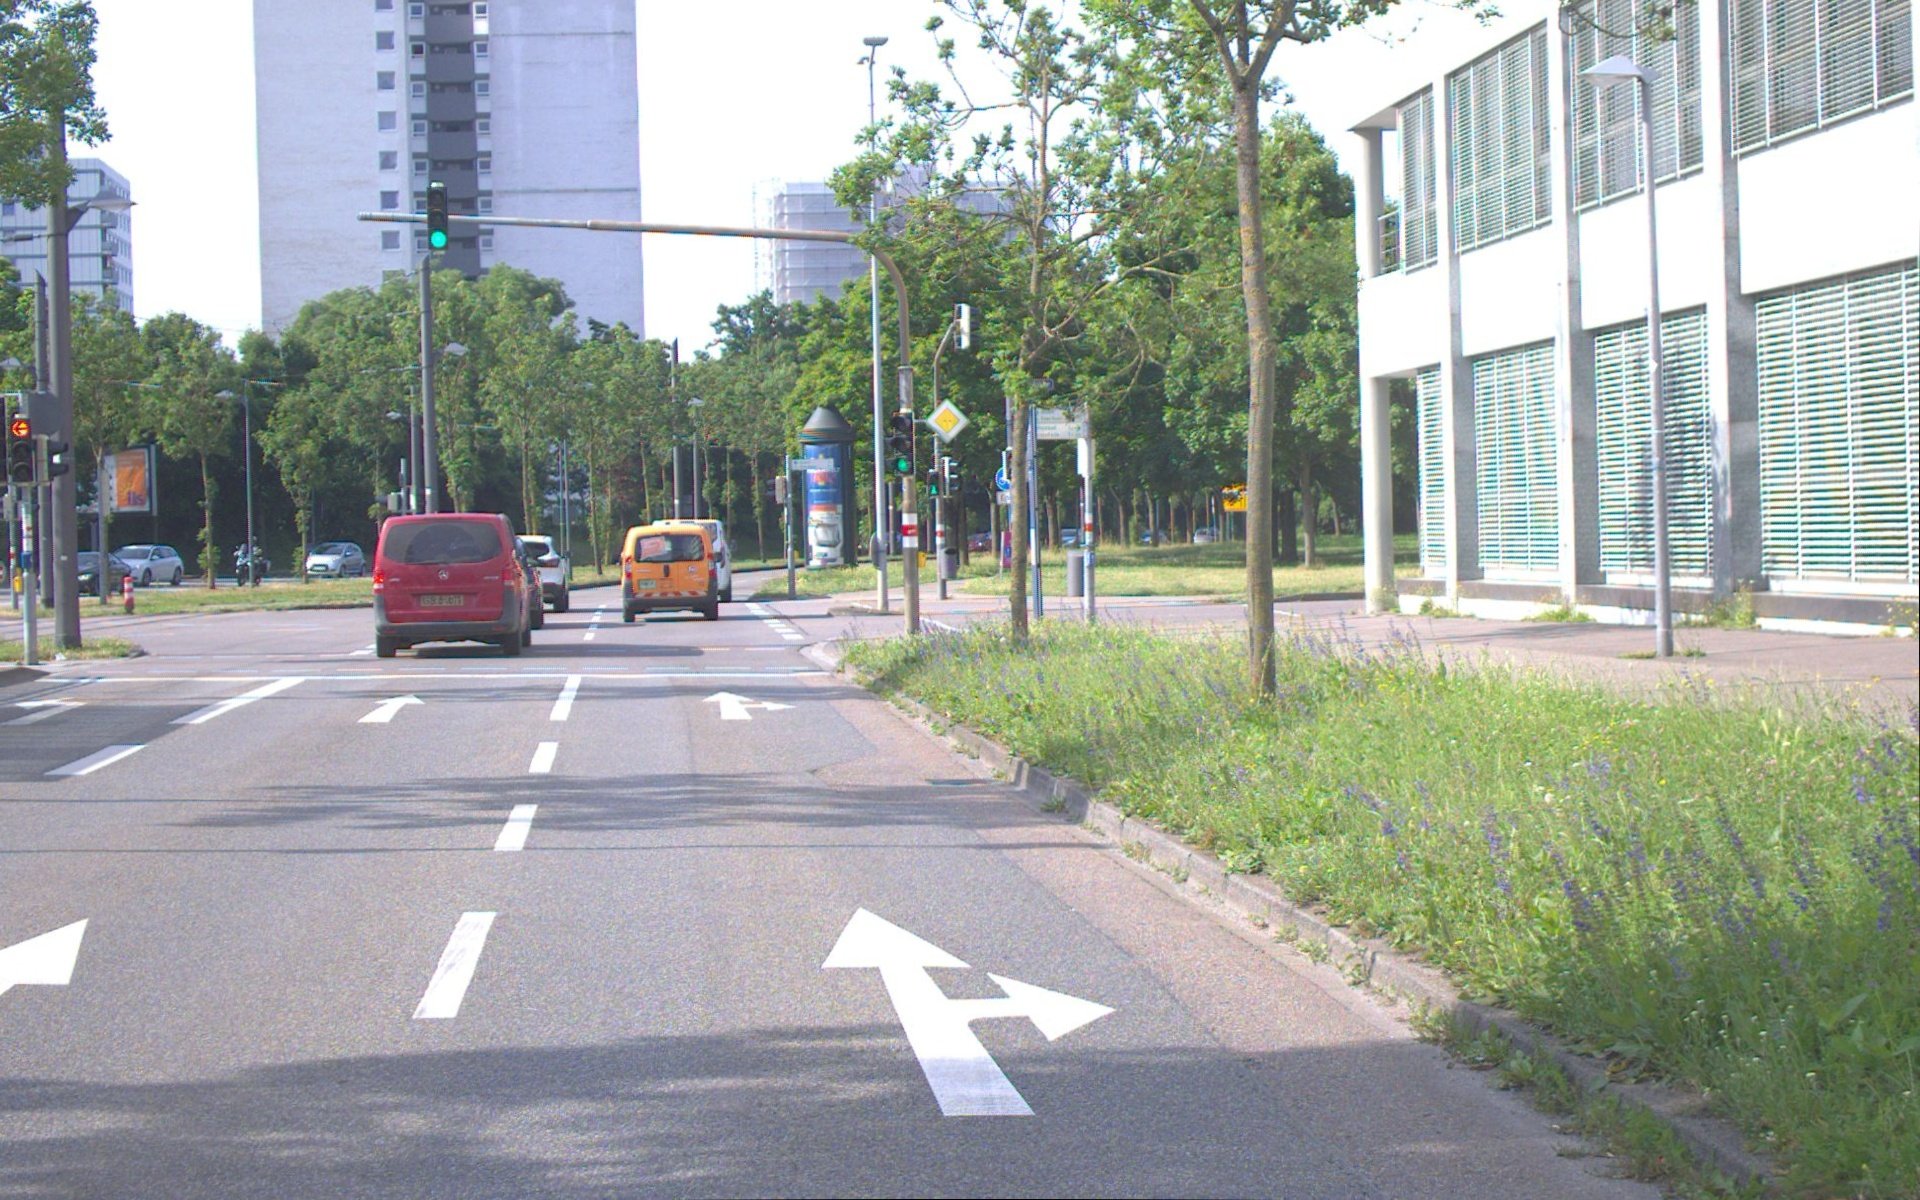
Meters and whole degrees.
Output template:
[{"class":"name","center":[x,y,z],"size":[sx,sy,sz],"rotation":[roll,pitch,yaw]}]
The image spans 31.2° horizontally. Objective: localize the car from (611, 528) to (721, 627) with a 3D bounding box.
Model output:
[{"class":"car","center":[-5.271,-0.424,61.739],"size":[1.875,1.690,3.974],"rotation":[-1,1,-5]}]

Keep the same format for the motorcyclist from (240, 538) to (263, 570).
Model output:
[{"class":"motorcyclist","center":[-25.472,-1.657,123.628],"size":[0.620,1.163,0.551],"rotation":[-1,1,8]}]

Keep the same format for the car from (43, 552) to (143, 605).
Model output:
[{"class":"car","center":[-26.594,-0.664,105.608],"size":[1.875,1.568,4.000],"rotation":[0,1,3]}]

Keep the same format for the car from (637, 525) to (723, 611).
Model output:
[{"class":"car","center":[-6.754,-0.770,82.669],"size":[1.993,2.007,4.001],"rotation":[0,1,-5]}]

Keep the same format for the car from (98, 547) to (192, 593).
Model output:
[{"class":"car","center":[-29.513,-1.105,124.603],"size":[1.876,1.568,4.220],"rotation":[-1,1,8]}]

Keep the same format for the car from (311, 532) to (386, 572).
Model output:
[{"class":"car","center":[-25.093,-1.988,141.171],"size":[1.876,1.568,3.999],"rotation":[-1,1,7]}]

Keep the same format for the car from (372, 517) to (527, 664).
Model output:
[{"class":"car","center":[-6.759,-0.152,45.832],"size":[1.874,1.847,4.001],"rotation":[-1,1,-6]}]

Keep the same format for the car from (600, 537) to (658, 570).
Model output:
[{"class":"car","center":[-16.313,-2.305,169.636],"size":[1.876,1.568,3.999],"rotation":[-1,1,9]}]

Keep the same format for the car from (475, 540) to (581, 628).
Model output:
[{"class":"car","center":[-8.948,-0.363,71.456],"size":[1.993,1.700,4.001],"rotation":[-2,1,-5]}]

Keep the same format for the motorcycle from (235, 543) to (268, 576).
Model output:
[{"class":"motorcycle","center":[-25.474,-1.449,123.586],"size":[0.637,1.163,1.643],"rotation":[-1,1,8]}]
